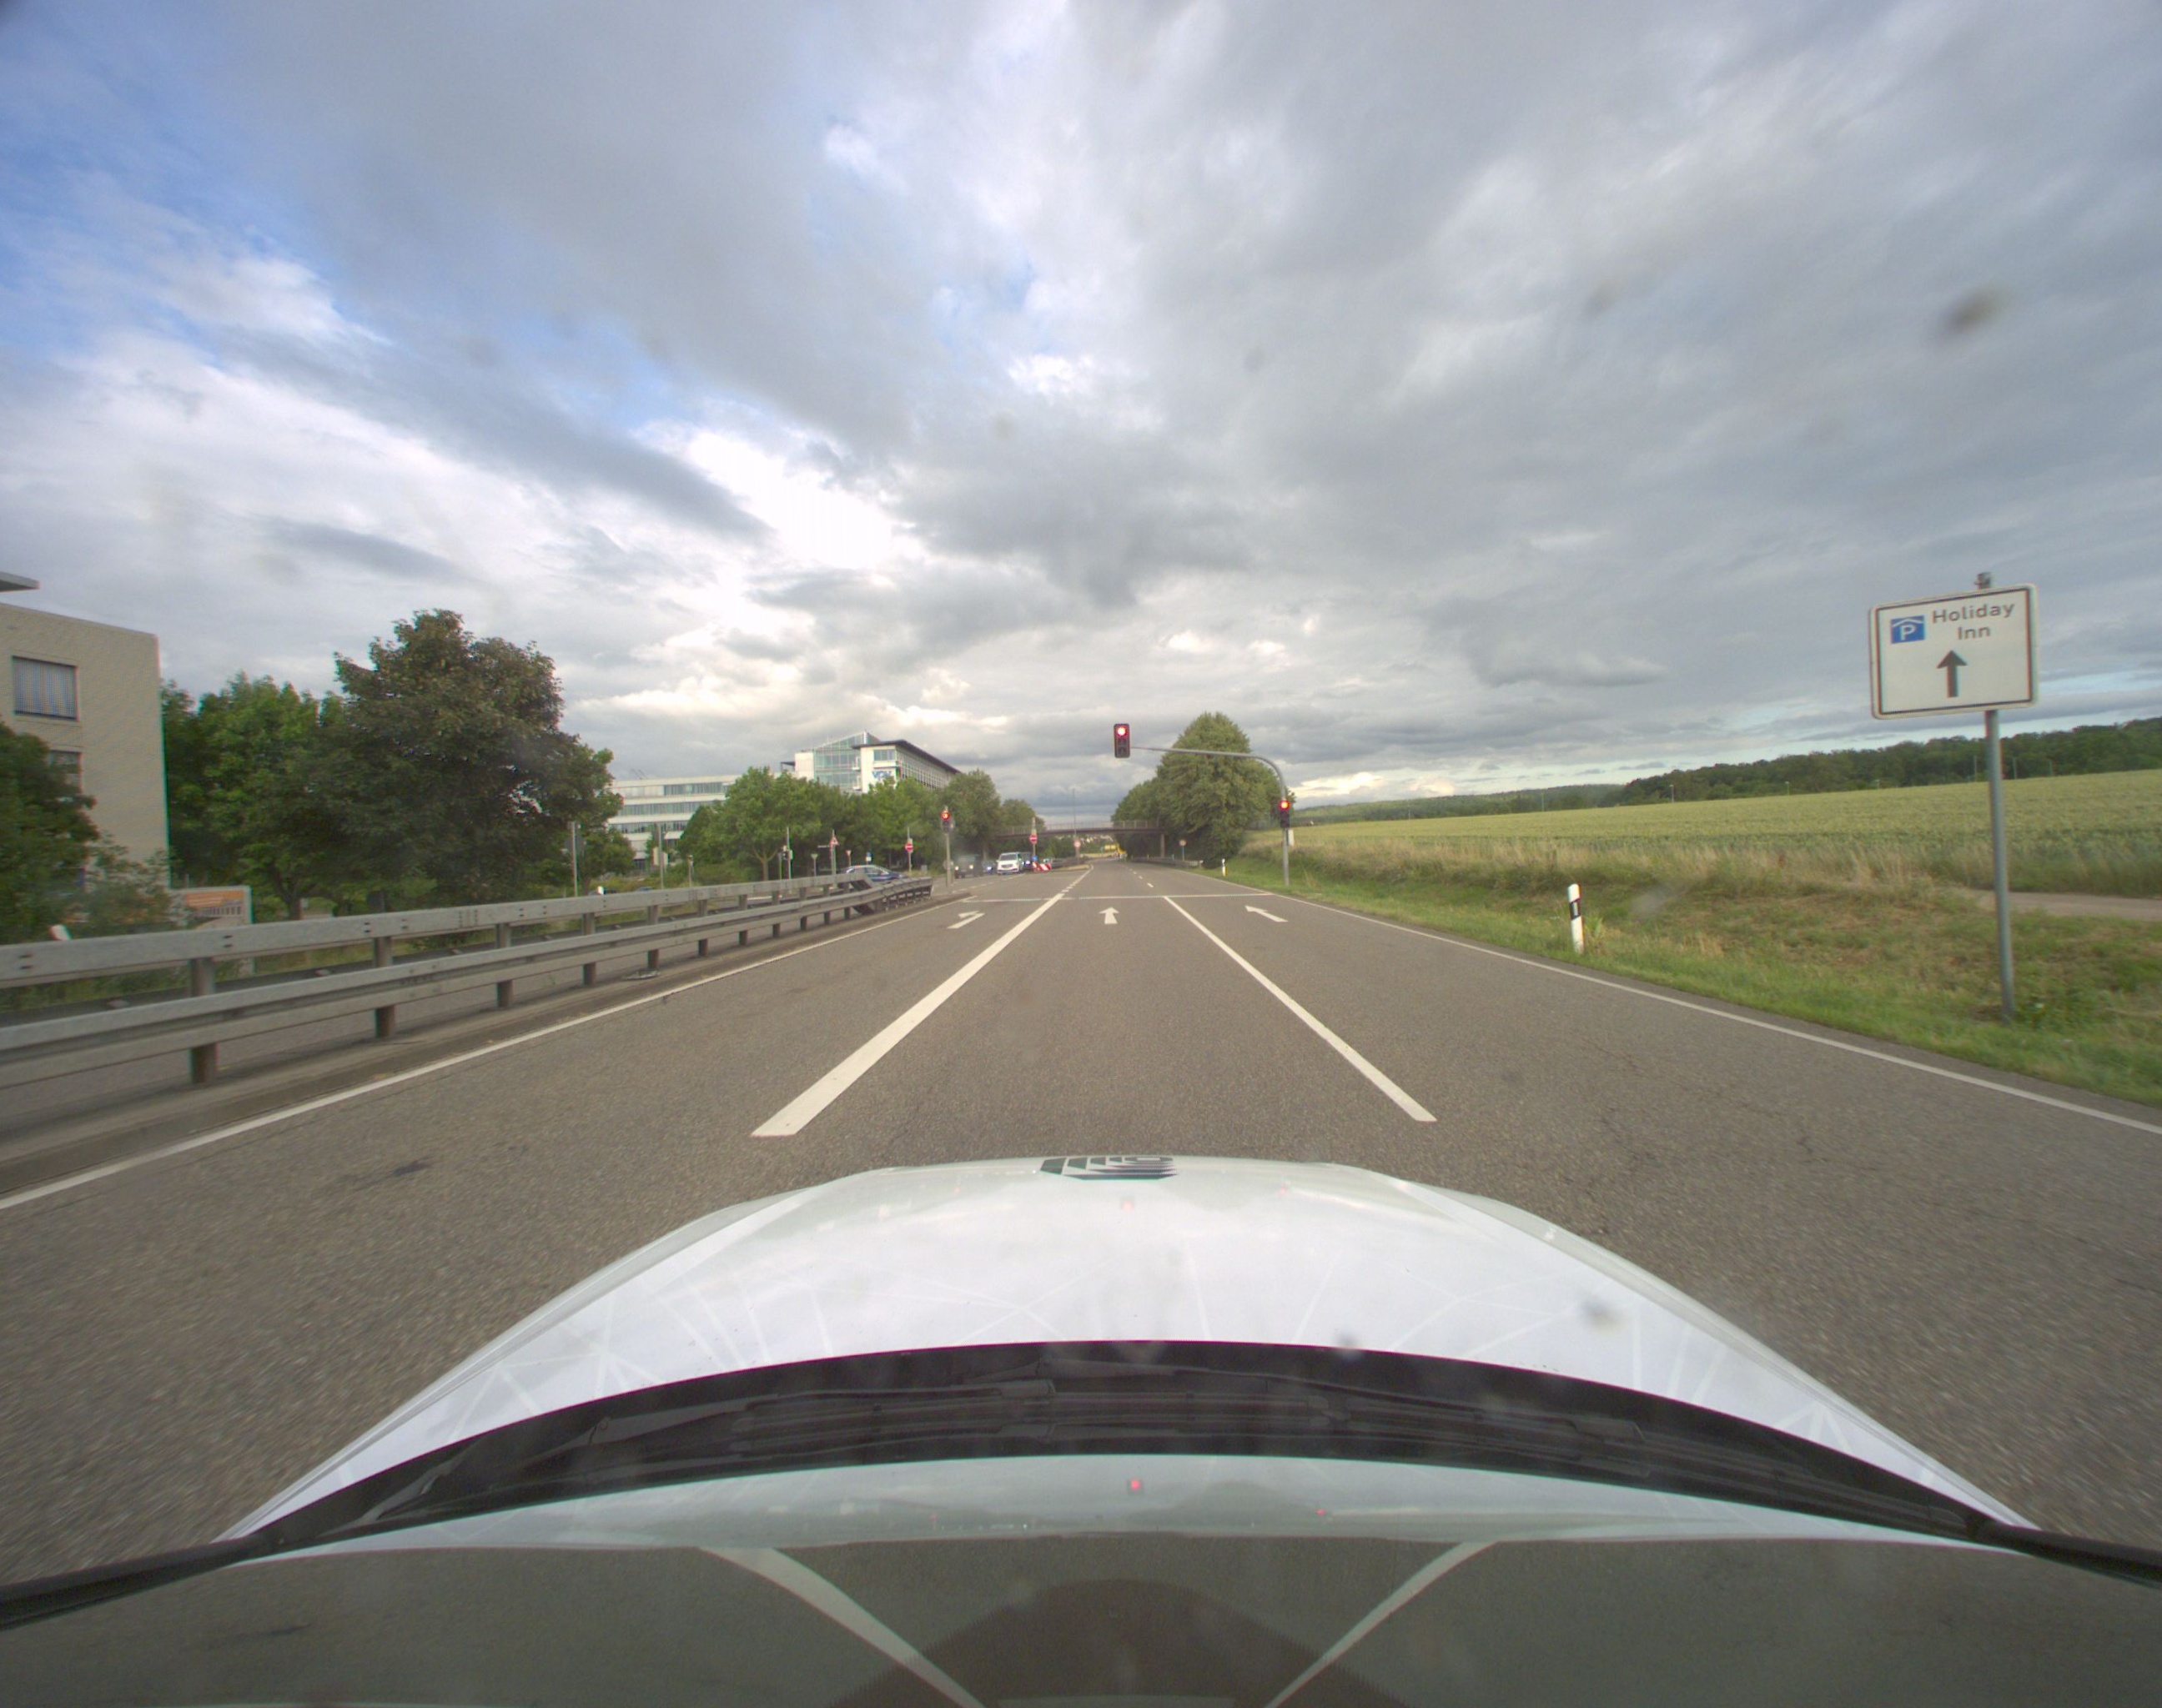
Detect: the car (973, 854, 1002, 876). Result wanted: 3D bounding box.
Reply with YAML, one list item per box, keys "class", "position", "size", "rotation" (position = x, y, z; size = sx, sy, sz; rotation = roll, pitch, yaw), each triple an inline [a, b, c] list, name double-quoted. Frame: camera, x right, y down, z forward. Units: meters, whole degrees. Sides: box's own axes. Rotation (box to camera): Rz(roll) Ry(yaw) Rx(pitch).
- class: "car"
  position: [-9.048, 1.069, 79.309]
  size: [2.076, 2.014, 5.217]
  rotation: [-1, 0, 1]

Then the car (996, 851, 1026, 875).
- class: "car"
  position: [-6.156, 0.782, 71.834]
  size: [2.076, 2.014, 5.217]
  rotation: [-1, 0, 1]

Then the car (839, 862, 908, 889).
- class: "car"
  position: [-12.745, 1.308, 50.259]
  size: [3.989, 1.552, 1.878]
  rotation: [0, -1, -12]

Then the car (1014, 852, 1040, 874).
- class: "car"
  position: [-5.208, 0.864, 79.550]
  size: [2.076, 2.014, 5.217]
  rotation: [-1, 0, 1]

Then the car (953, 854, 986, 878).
- class: "car"
  position: [-9.775, 1.029, 71.822]
  size: [2.076, 2.014, 5.217]
  rotation: [-1, 0, 1]
